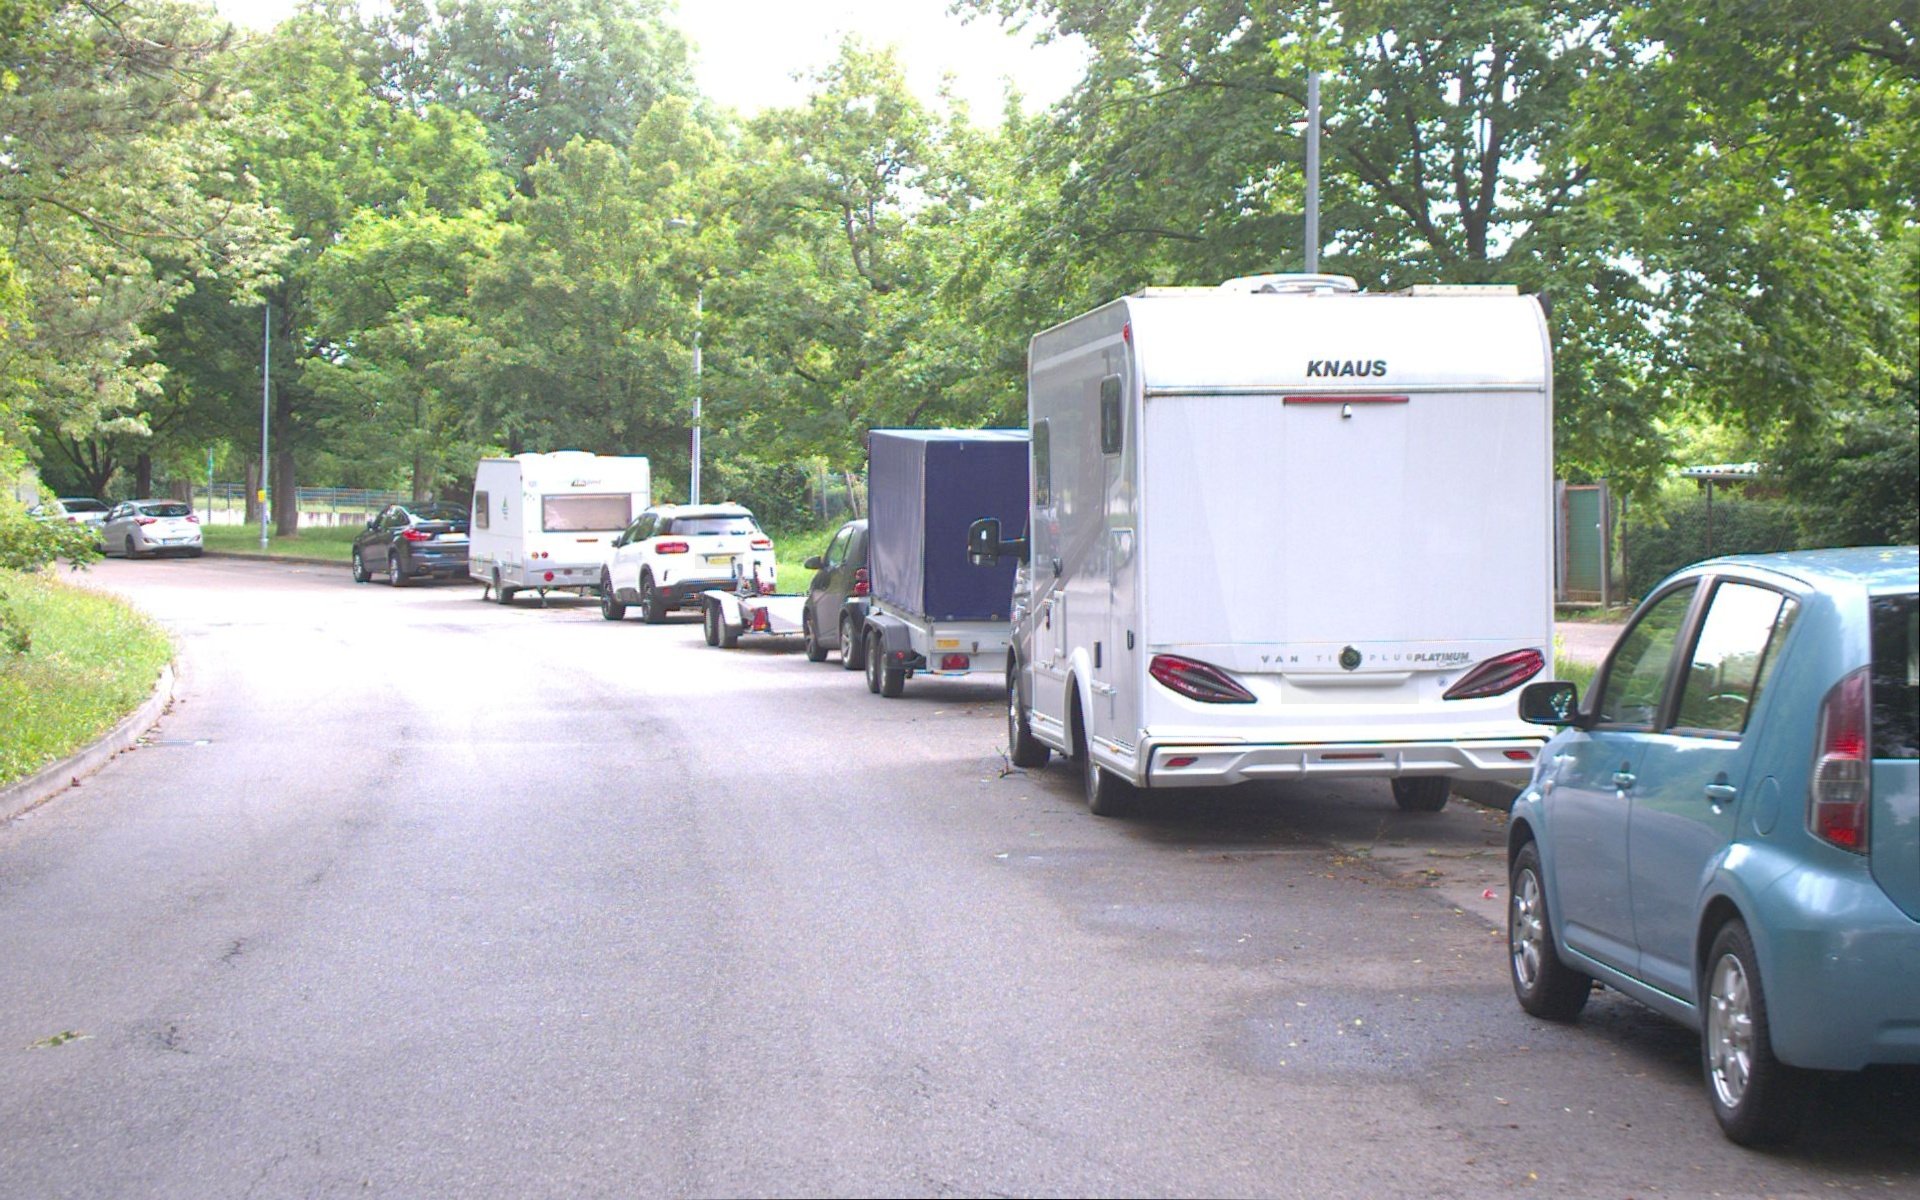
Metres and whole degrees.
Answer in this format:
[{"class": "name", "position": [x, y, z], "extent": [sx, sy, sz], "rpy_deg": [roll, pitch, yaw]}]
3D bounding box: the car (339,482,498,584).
[{"class": "car", "position": [-10.674, -1.351, 67.544], "extent": [1.993, 1.863, 4.001], "rpy_deg": [-2, 3, -25]}]

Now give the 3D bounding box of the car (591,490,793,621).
[{"class": "car", "position": [-3.924, -0.667, 49.753], "extent": [2.034, 1.797, 4.084], "rpy_deg": [0, 1, -18]}]

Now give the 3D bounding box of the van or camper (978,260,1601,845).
[{"class": "van or camper", "position": [1.660, -0.268, 20.459], "extent": [2.481, 2.866, 6.891], "rpy_deg": [1, 1, -5]}]

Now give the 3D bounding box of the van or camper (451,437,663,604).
[{"class": "van or camper", "position": [-6.848, -1.351, 57.990], "extent": [2.526, 2.688, 4.577], "rpy_deg": [-1, 2, -20]}]

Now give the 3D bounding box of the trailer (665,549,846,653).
[{"class": "trailer", "position": [-2.461, -0.020, 40.546], "extent": [1.651, 1.083, 4.001], "rpy_deg": [-2, 2, -10]}]

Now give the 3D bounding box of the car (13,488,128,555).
[{"class": "car", "position": [-23.774, -2.085, 91.828], "extent": [1.993, 1.748, 4.000], "rpy_deg": [0, 1, -30]}]

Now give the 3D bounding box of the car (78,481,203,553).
[{"class": "car", "position": [-20.629, -2.076, 86.448], "extent": [1.993, 1.748, 4.000], "rpy_deg": [0, 1, -30]}]

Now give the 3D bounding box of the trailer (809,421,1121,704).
[{"class": "trailer", "position": [-0.038, -0.342, 31.187], "extent": [1.993, 2.390, 4.001], "rpy_deg": [0, 1, -12]}]

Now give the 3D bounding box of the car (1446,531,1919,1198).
[{"class": "car", "position": [2.669, 0.583, 10.023], "extent": [1.799, 1.556, 3.836], "rpy_deg": [0, 1, -3]}]

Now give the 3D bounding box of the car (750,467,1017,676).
[{"class": "car", "position": [-0.879, -0.369, 36.663], "extent": [1.993, 2.019, 4.002], "rpy_deg": [-2, 3, -13]}]
